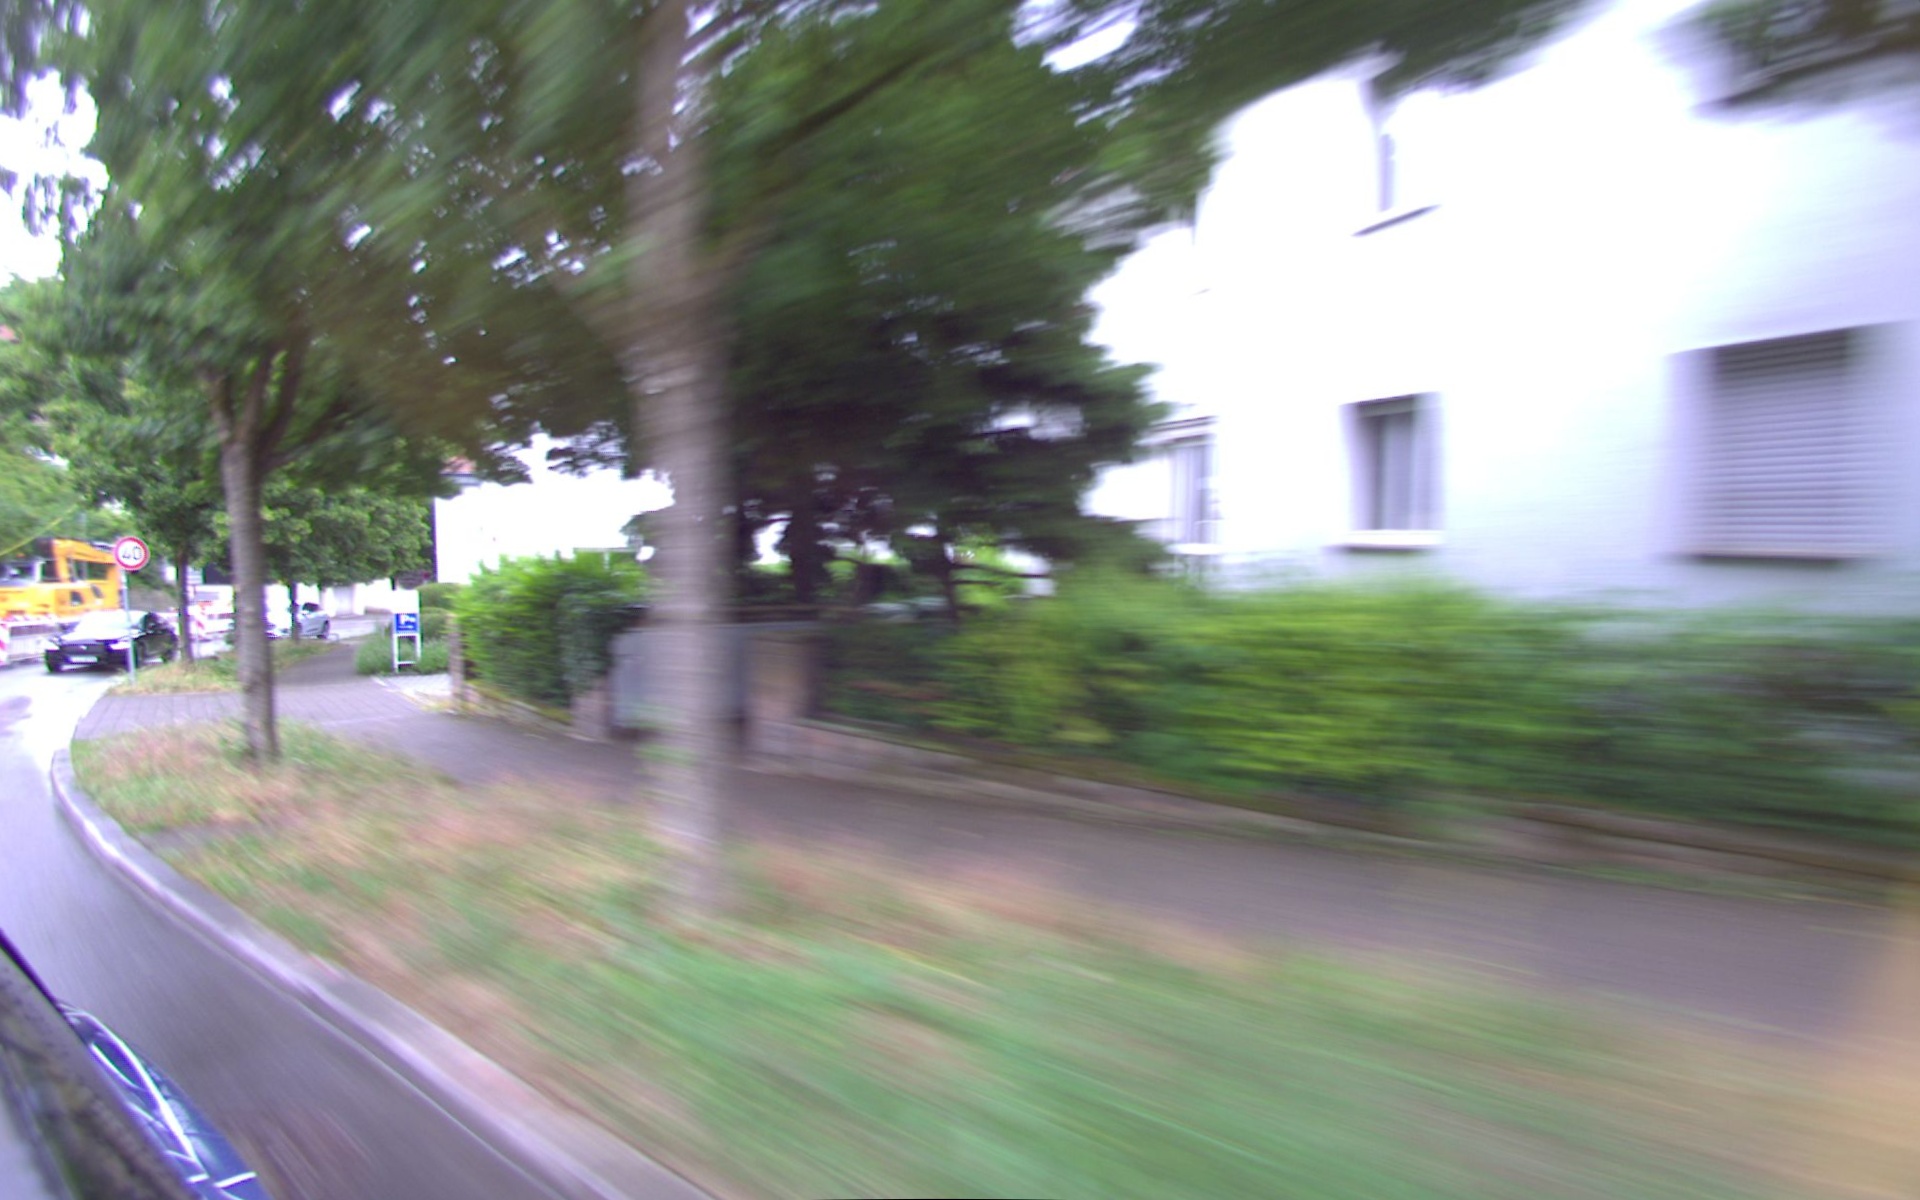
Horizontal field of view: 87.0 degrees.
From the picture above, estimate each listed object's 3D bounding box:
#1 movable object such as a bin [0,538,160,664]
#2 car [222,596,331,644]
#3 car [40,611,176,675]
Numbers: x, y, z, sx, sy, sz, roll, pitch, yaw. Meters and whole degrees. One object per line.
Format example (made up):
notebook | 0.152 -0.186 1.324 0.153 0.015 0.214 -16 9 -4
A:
movable object such as a bin | -30.823 0.020 34.315 3.275 3.868 7.225 -1 1 -16
car | -26.983 0.739 40.154 1.969 1.722 4.585 -1 1 -11
car | -21.553 1.025 25.785 1.812 1.413 4.084 -1 1 -28
